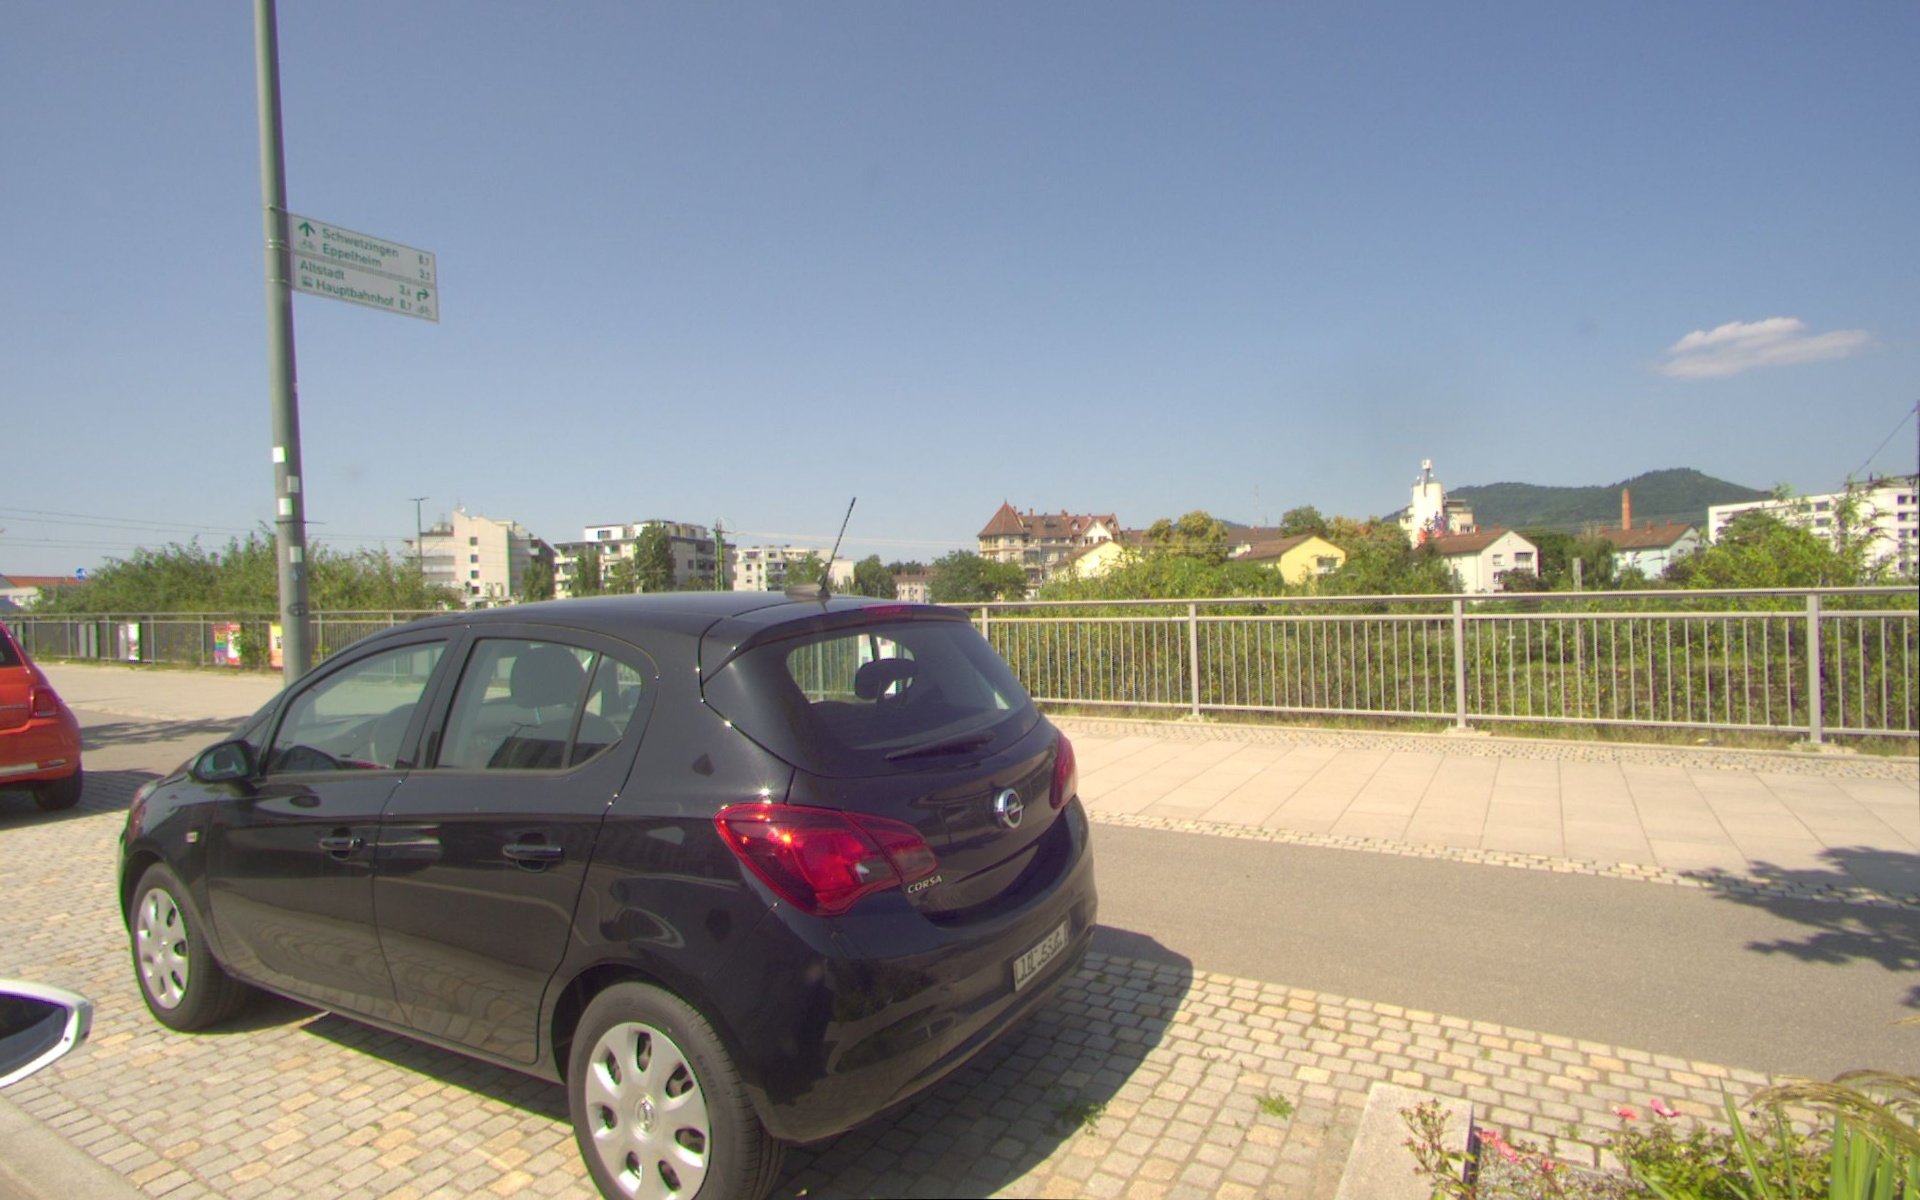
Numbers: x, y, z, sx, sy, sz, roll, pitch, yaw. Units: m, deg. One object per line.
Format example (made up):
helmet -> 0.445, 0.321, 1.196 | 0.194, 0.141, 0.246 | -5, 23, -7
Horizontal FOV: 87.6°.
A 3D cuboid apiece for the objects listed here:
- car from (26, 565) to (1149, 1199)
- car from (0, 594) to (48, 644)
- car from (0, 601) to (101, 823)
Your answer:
car -> -1.503, 0.675, 3.586 | 3.942, 1.446, 1.656 | -1, 1, 32
car -> -47.567, 0.936, 48.393 | 1.751, 2.406, 5.012 | -1, -1, 15
car -> -8.144, 0.804, 7.590 | 3.305, 1.517, 1.605 | -1, 2, 34
